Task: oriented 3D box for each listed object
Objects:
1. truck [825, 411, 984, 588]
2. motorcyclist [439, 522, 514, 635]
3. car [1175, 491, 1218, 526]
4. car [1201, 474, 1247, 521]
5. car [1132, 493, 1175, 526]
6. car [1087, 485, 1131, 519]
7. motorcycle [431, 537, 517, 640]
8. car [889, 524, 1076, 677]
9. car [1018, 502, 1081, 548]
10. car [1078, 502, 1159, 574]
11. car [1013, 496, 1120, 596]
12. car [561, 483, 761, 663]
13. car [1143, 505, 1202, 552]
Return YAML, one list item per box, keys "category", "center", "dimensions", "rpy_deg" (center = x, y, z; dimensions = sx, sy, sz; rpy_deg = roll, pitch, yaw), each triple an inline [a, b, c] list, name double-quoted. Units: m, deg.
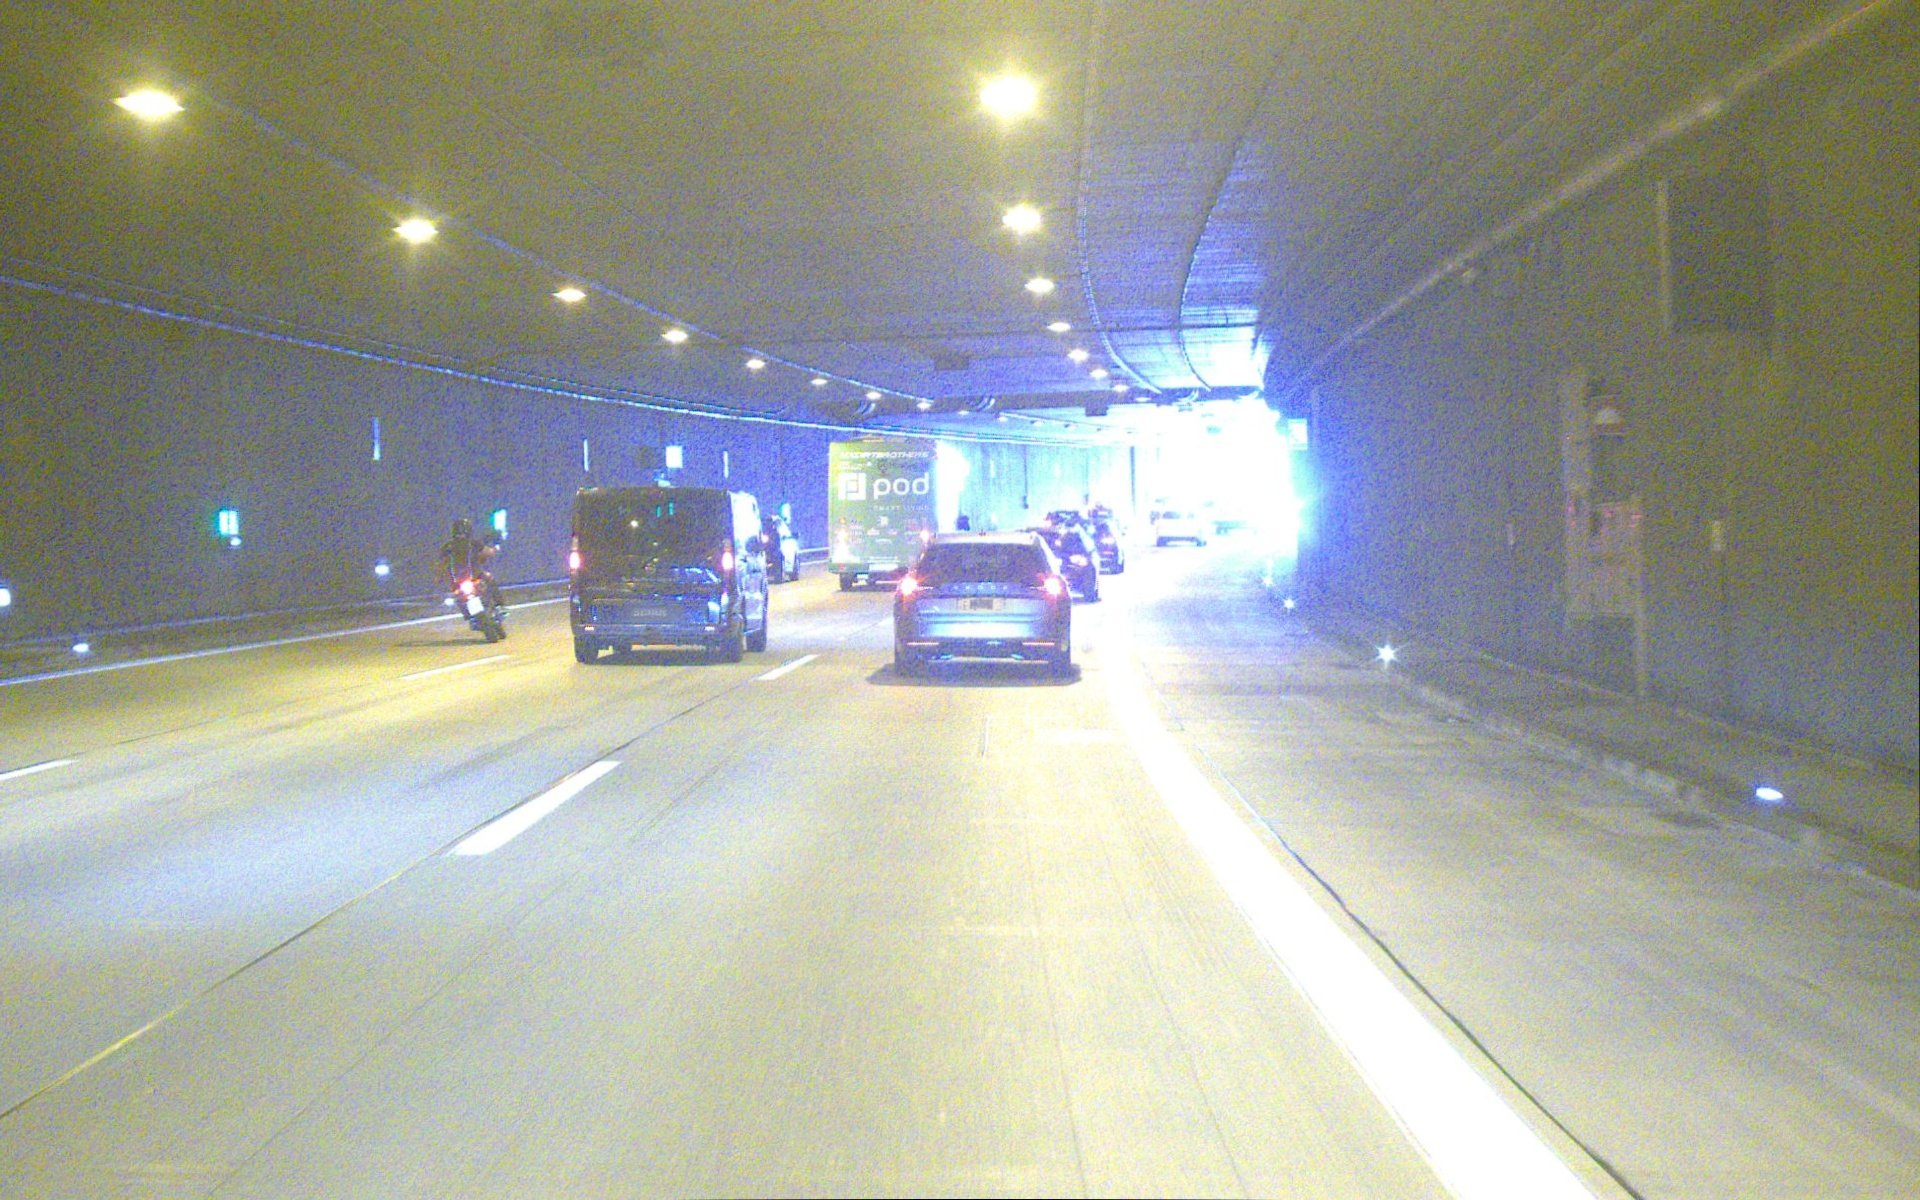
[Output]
- category: "truck"
  center: [-1.126, -2.151, 74.943]
  dimensions: [3.039, 3.660, 7.392]
  rpy_deg: [0, 1, 2]
- category: "motorcyclist"
  center: [-6.240, -0.272, 44.436]
  dimensions: [0.777, 1.447, 1.069]
  rpy_deg: [0, -1, 2]
- category: "car"
  center: [12.011, -4.618, 174.451]
  dimensions: [1.994, 1.626, 3.999]
  rpy_deg: [0, -1, 6]
- category: "car"
  center: [12.043, -4.657, 157.000]
  dimensions: [1.994, 2.007, 3.999]
  rpy_deg: [0, -1, 3]
- category: "car"
  center: [10.787, -5.024, 191.209]
  dimensions: [1.931, 1.637, 3.998]
  rpy_deg: [0, -1, 10]
- category: "car"
  center: [7.355, -4.806, 169.646]
  dimensions: [1.931, 1.637, 3.999]
  rpy_deg: [0, 1, 6]
- category: "motorcycle"
  center: [-6.265, -0.137, 44.388]
  dimensions: [0.683, 1.292, 2.398]
  rpy_deg: [0, 0, 2]
- category: "car"
  center: [0.285, -0.038, 35.645]
  dimensions: [1.742, 1.459, 3.871]
  rpy_deg: [0, 2, 3]
- category: "car"
  center: [3.327, -2.749, 127.152]
  dimensions: [1.994, 1.626, 3.999]
  rpy_deg: [0, 0, 6]
- category: "car"
  center: [4.137, -1.610, 90.113]
  dimensions: [1.950, 1.766, 4.000]
  rpy_deg: [0, -1, 0]
- category: "car"
  center: [2.063, -1.033, 65.541]
  dimensions: [1.857, 1.848, 4.000]
  rpy_deg: [0, 1, 4]
- category: "car"
  center: [-3.344, -0.354, 39.082]
  dimensions: [1.909, 1.937, 3.871]
  rpy_deg: [0, 2, 0]
- category: "car"
  center: [7.987, -2.685, 129.643]
  dimensions: [1.930, 1.637, 4.000]
  rpy_deg: [0, -1, -1]
